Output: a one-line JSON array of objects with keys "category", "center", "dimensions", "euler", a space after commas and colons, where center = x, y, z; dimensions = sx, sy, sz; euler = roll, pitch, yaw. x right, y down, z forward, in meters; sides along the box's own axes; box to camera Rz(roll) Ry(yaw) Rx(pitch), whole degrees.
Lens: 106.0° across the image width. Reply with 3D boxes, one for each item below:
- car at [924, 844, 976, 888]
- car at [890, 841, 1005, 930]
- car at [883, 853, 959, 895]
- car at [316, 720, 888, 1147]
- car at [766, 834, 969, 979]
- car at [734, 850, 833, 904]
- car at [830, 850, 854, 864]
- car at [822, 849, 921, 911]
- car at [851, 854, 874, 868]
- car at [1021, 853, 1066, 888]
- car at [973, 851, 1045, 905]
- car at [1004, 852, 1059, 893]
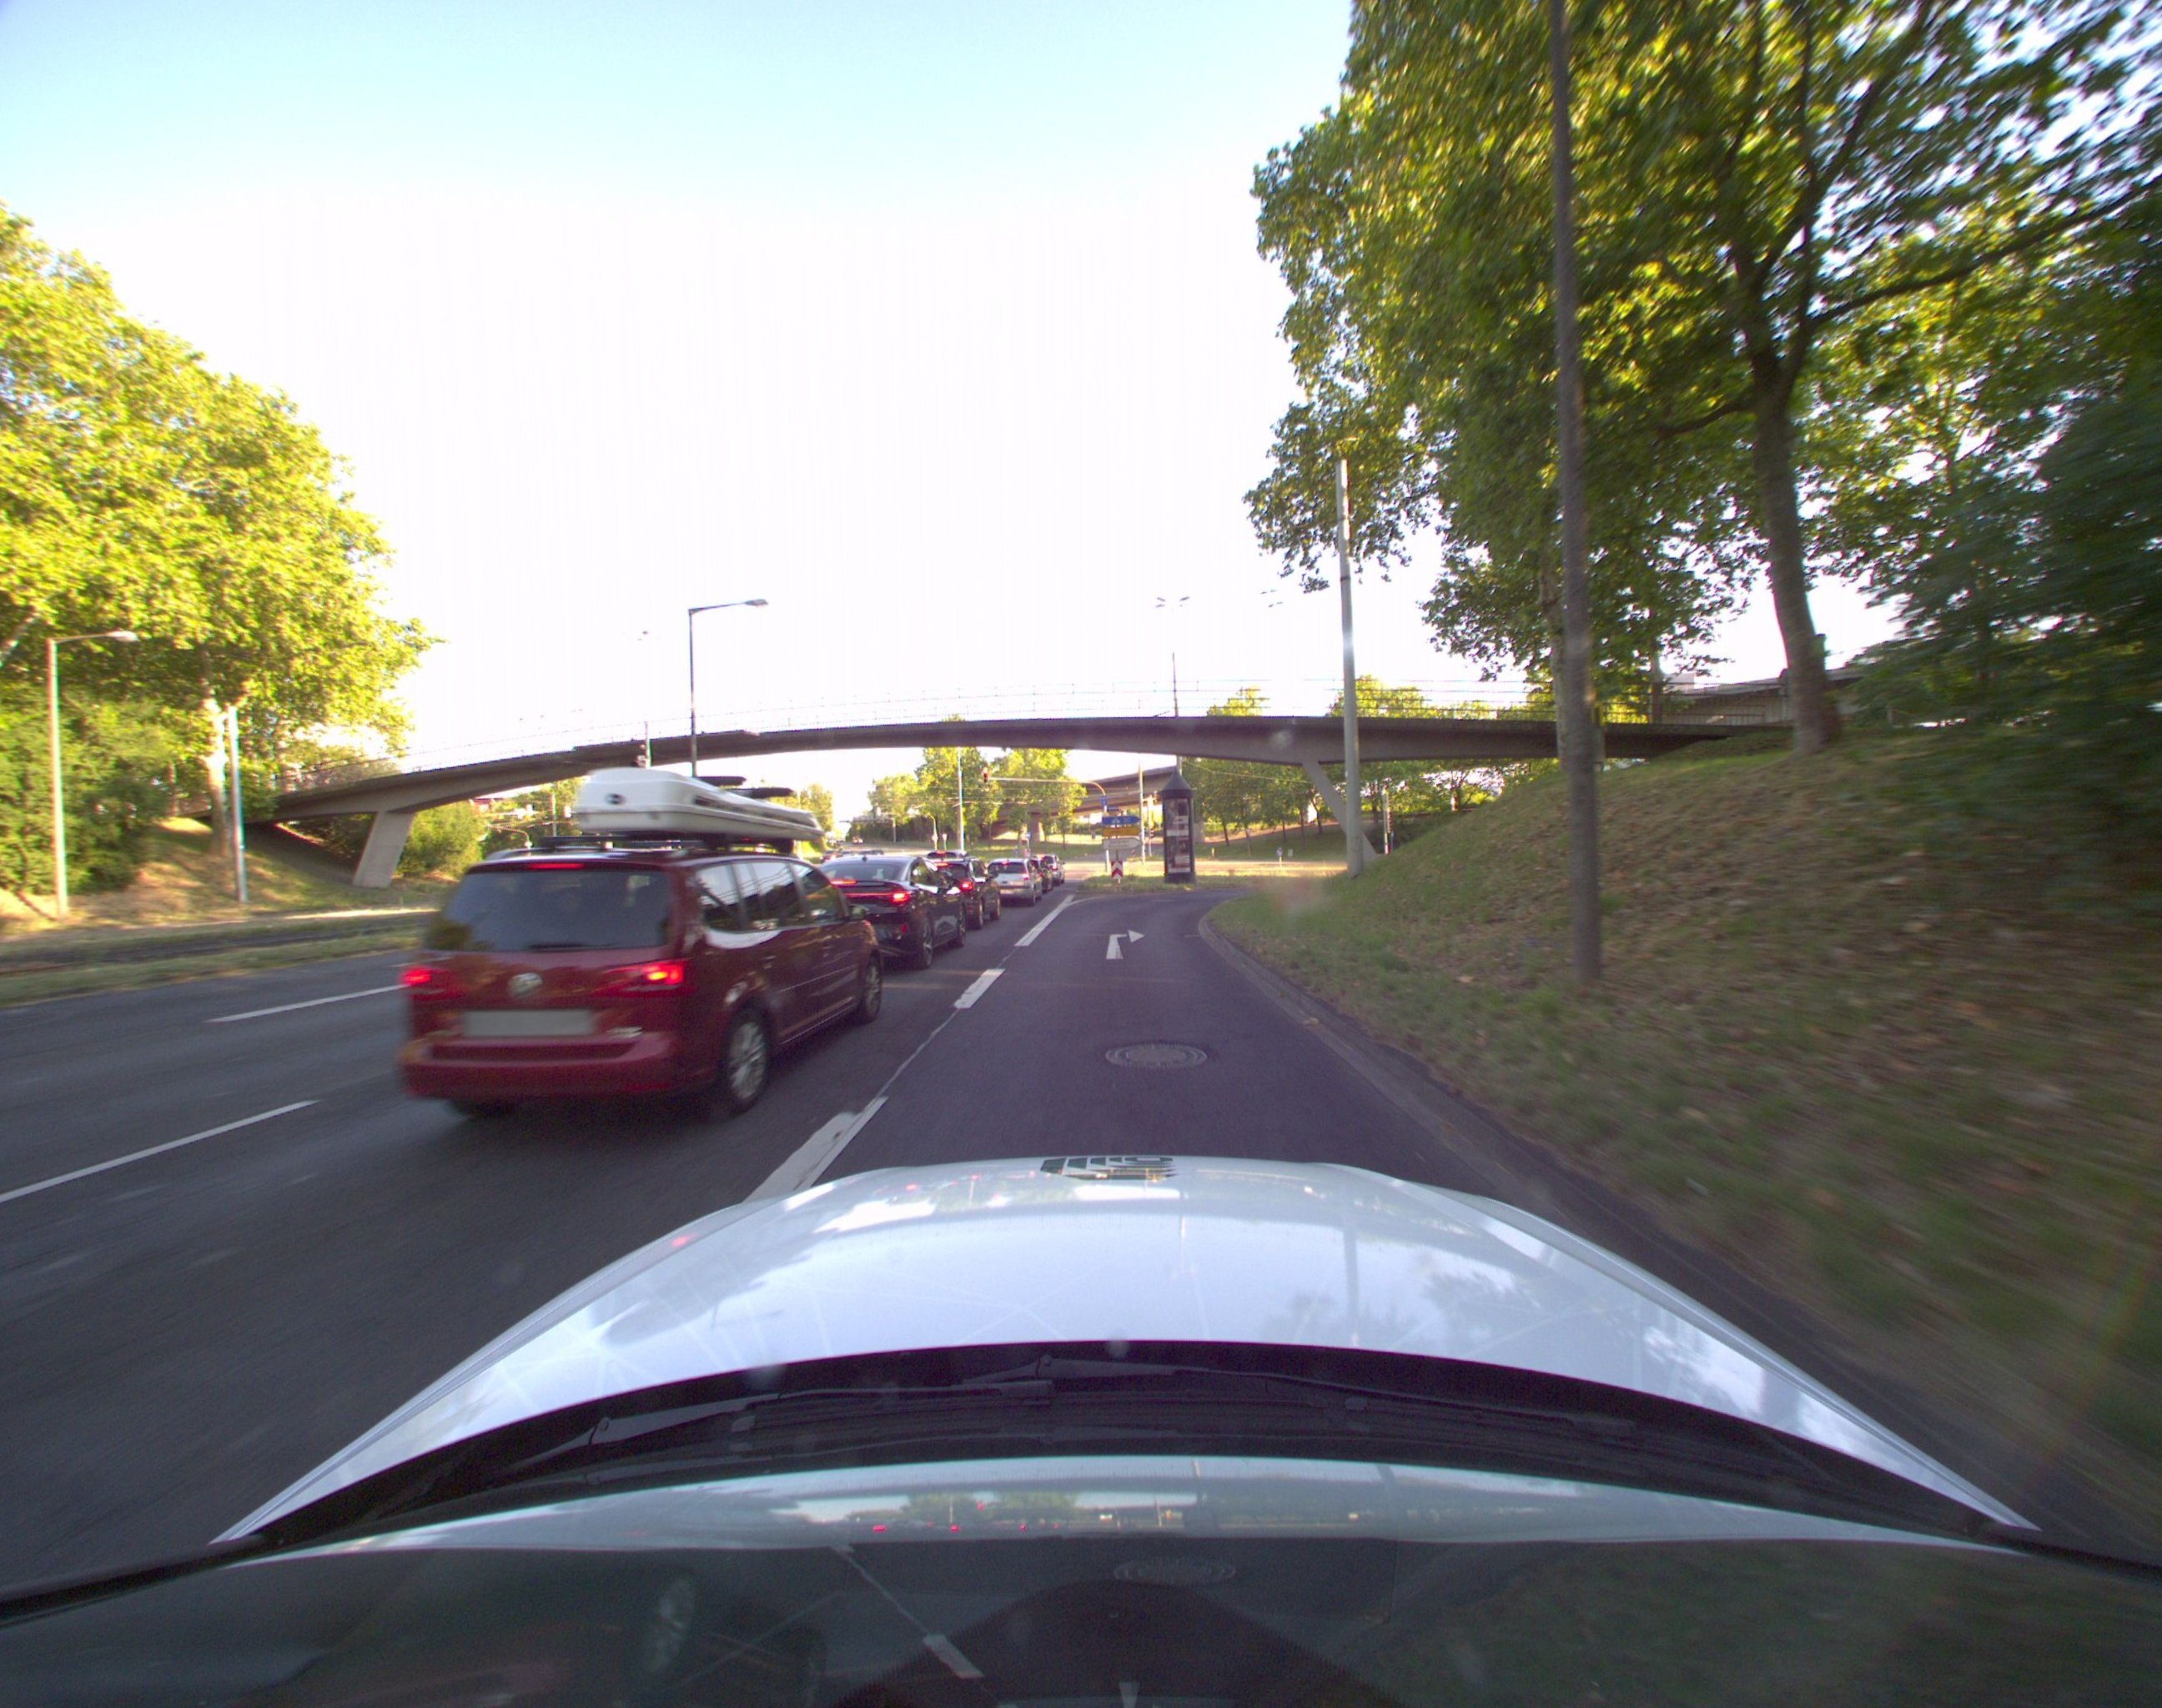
[{"category": "car", "center": [-5.985, 0.493, 37.628], "dimensions": [1.788, 1.792, 4.821], "euler": [-3, 1, -3]}, {"category": "car", "center": [-2.945, 0.624, 18.782], "dimensions": [1.786, 1.749, 4.002], "euler": [-3, 1, 2]}, {"category": "car", "center": [-5.998, 0.710, 31.013], "dimensions": [1.734, 1.432, 4.416], "euler": [0, 1, 4]}, {"category": "car", "center": [-2.946, 0.389, 6.198], "dimensions": [1.786, 2.105, 4.001], "euler": [-3, 1, 1]}, {"category": "car", "center": [-3.013, 0.647, 12.495], "dimensions": [1.786, 1.749, 4.243], "euler": [-3, 1, 2]}, {"category": "car", "center": [-9.888, 0.720, 27.410], "dimensions": [1.656, 1.565, 4.002], "euler": [-3, 1, 2]}, {"category": "car", "center": [-31.700, 0.402, 108.086], "dimensions": [1.872, 1.771, 4.000], "euler": [0, 1, 0]}, {"category": "car", "center": [-6.093, 0.699, 24.166], "dimensions": [1.656, 1.565, 4.192], "euler": [-3, 1, 2]}, {"category": "car", "center": [-27.771, 0.879, 103.616], "dimensions": [1.872, 1.575, 3.675], "euler": [0, 1, 0]}, {"category": "car", "center": [-1.739, 0.761, 39.098], "dimensions": [1.786, 1.442, 4.002], "euler": [-3, 1, 2]}, {"category": "car", "center": [-2.249, 0.716, 26.461], "dimensions": [1.786, 1.481, 4.002], "euler": [-3, 1, 2]}, {"category": "car", "center": [-1.936, 0.696, 33.166], "dimensions": [1.786, 1.382, 4.478], "euler": [-3, 1, 2]}]
